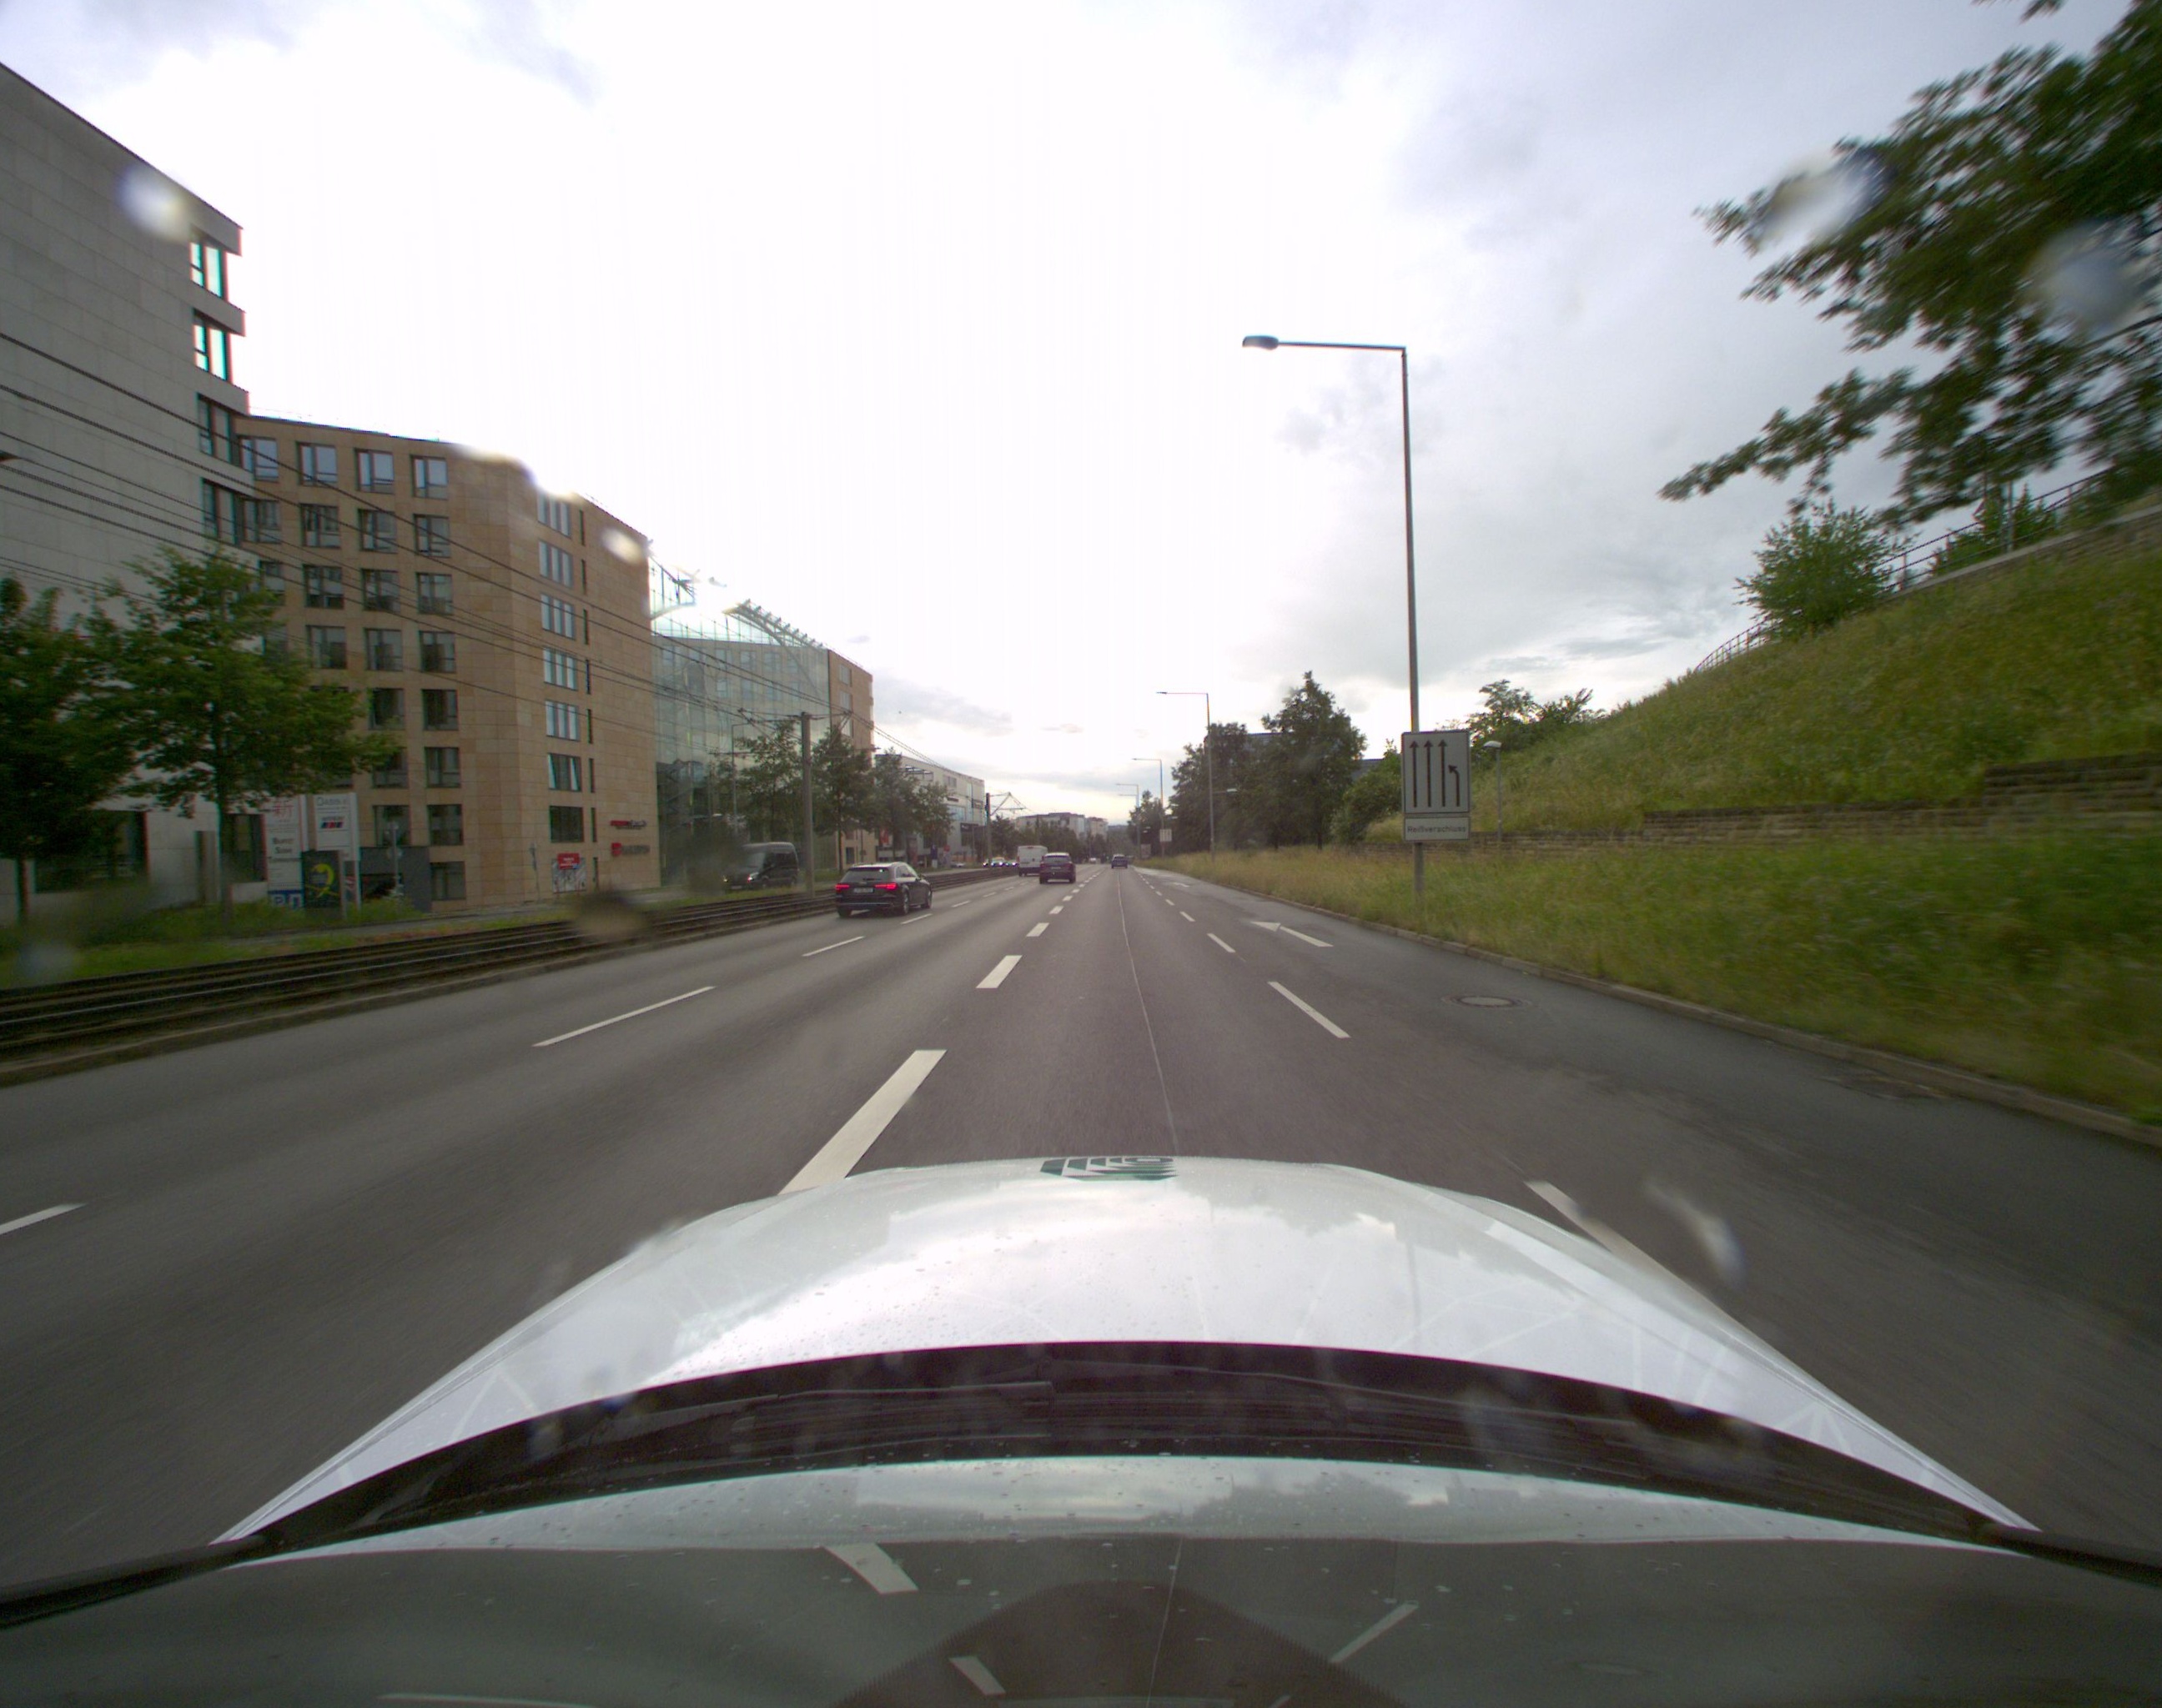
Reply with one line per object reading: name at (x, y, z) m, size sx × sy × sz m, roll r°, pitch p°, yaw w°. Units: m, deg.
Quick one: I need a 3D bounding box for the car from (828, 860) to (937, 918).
car at (-5.411, 0.901, 22.858) m, size 1.779 × 1.414 × 4.807 m, roll -1°, pitch 0°, yaw 1°

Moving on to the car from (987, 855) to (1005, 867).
car at (-11.647, 0.970, 111.951) m, size 1.764 × 1.502 × 4.204 m, roll -1°, pitch -2°, yaw 5°

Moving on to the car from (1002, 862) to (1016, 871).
car at (-13.004, 2.222, 147.286) m, size 1.833 × 1.486 × 4.657 m, roll -5°, pitch 0°, yaw 3°

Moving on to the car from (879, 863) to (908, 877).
car at (-18.873, 1.636, 82.159) m, size 1.833 × 1.454 × 4.027 m, roll 0°, pitch -2°, yaw 3°

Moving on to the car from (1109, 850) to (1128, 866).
car at (4.104, 0.438, 89.930) m, size 1.784 × 1.591 × 3.998 m, roll -2°, pitch -1°, yaw -1°

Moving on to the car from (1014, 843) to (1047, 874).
car at (-3.798, 0.355, 62.185) m, size 2.261 × 2.285 × 4.758 m, roll 0°, pitch 0°, yaw 0°

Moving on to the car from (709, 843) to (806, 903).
car at (-16.198, 0.909, 41.190) m, size 2.373 × 2.817 × 5.617 m, roll 0°, pitch 0°, yaw 4°

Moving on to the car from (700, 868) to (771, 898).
car at (-19.552, 1.620, 46.340) m, size 1.752 × 1.533 × 4.821 m, roll 0°, pitch 0°, yaw 3°

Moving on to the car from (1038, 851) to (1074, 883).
car at (-1.349, 0.678, 45.083) m, size 1.917 × 1.710 × 4.097 m, roll 0°, pitch 0°, yaw -1°

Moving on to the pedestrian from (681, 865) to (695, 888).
pedestrian at (-28.349, 1.615, 58.769) m, size 0.640 × 1.632 × 0.832 m, roll 0°, pitch -2°, yaw 0°
